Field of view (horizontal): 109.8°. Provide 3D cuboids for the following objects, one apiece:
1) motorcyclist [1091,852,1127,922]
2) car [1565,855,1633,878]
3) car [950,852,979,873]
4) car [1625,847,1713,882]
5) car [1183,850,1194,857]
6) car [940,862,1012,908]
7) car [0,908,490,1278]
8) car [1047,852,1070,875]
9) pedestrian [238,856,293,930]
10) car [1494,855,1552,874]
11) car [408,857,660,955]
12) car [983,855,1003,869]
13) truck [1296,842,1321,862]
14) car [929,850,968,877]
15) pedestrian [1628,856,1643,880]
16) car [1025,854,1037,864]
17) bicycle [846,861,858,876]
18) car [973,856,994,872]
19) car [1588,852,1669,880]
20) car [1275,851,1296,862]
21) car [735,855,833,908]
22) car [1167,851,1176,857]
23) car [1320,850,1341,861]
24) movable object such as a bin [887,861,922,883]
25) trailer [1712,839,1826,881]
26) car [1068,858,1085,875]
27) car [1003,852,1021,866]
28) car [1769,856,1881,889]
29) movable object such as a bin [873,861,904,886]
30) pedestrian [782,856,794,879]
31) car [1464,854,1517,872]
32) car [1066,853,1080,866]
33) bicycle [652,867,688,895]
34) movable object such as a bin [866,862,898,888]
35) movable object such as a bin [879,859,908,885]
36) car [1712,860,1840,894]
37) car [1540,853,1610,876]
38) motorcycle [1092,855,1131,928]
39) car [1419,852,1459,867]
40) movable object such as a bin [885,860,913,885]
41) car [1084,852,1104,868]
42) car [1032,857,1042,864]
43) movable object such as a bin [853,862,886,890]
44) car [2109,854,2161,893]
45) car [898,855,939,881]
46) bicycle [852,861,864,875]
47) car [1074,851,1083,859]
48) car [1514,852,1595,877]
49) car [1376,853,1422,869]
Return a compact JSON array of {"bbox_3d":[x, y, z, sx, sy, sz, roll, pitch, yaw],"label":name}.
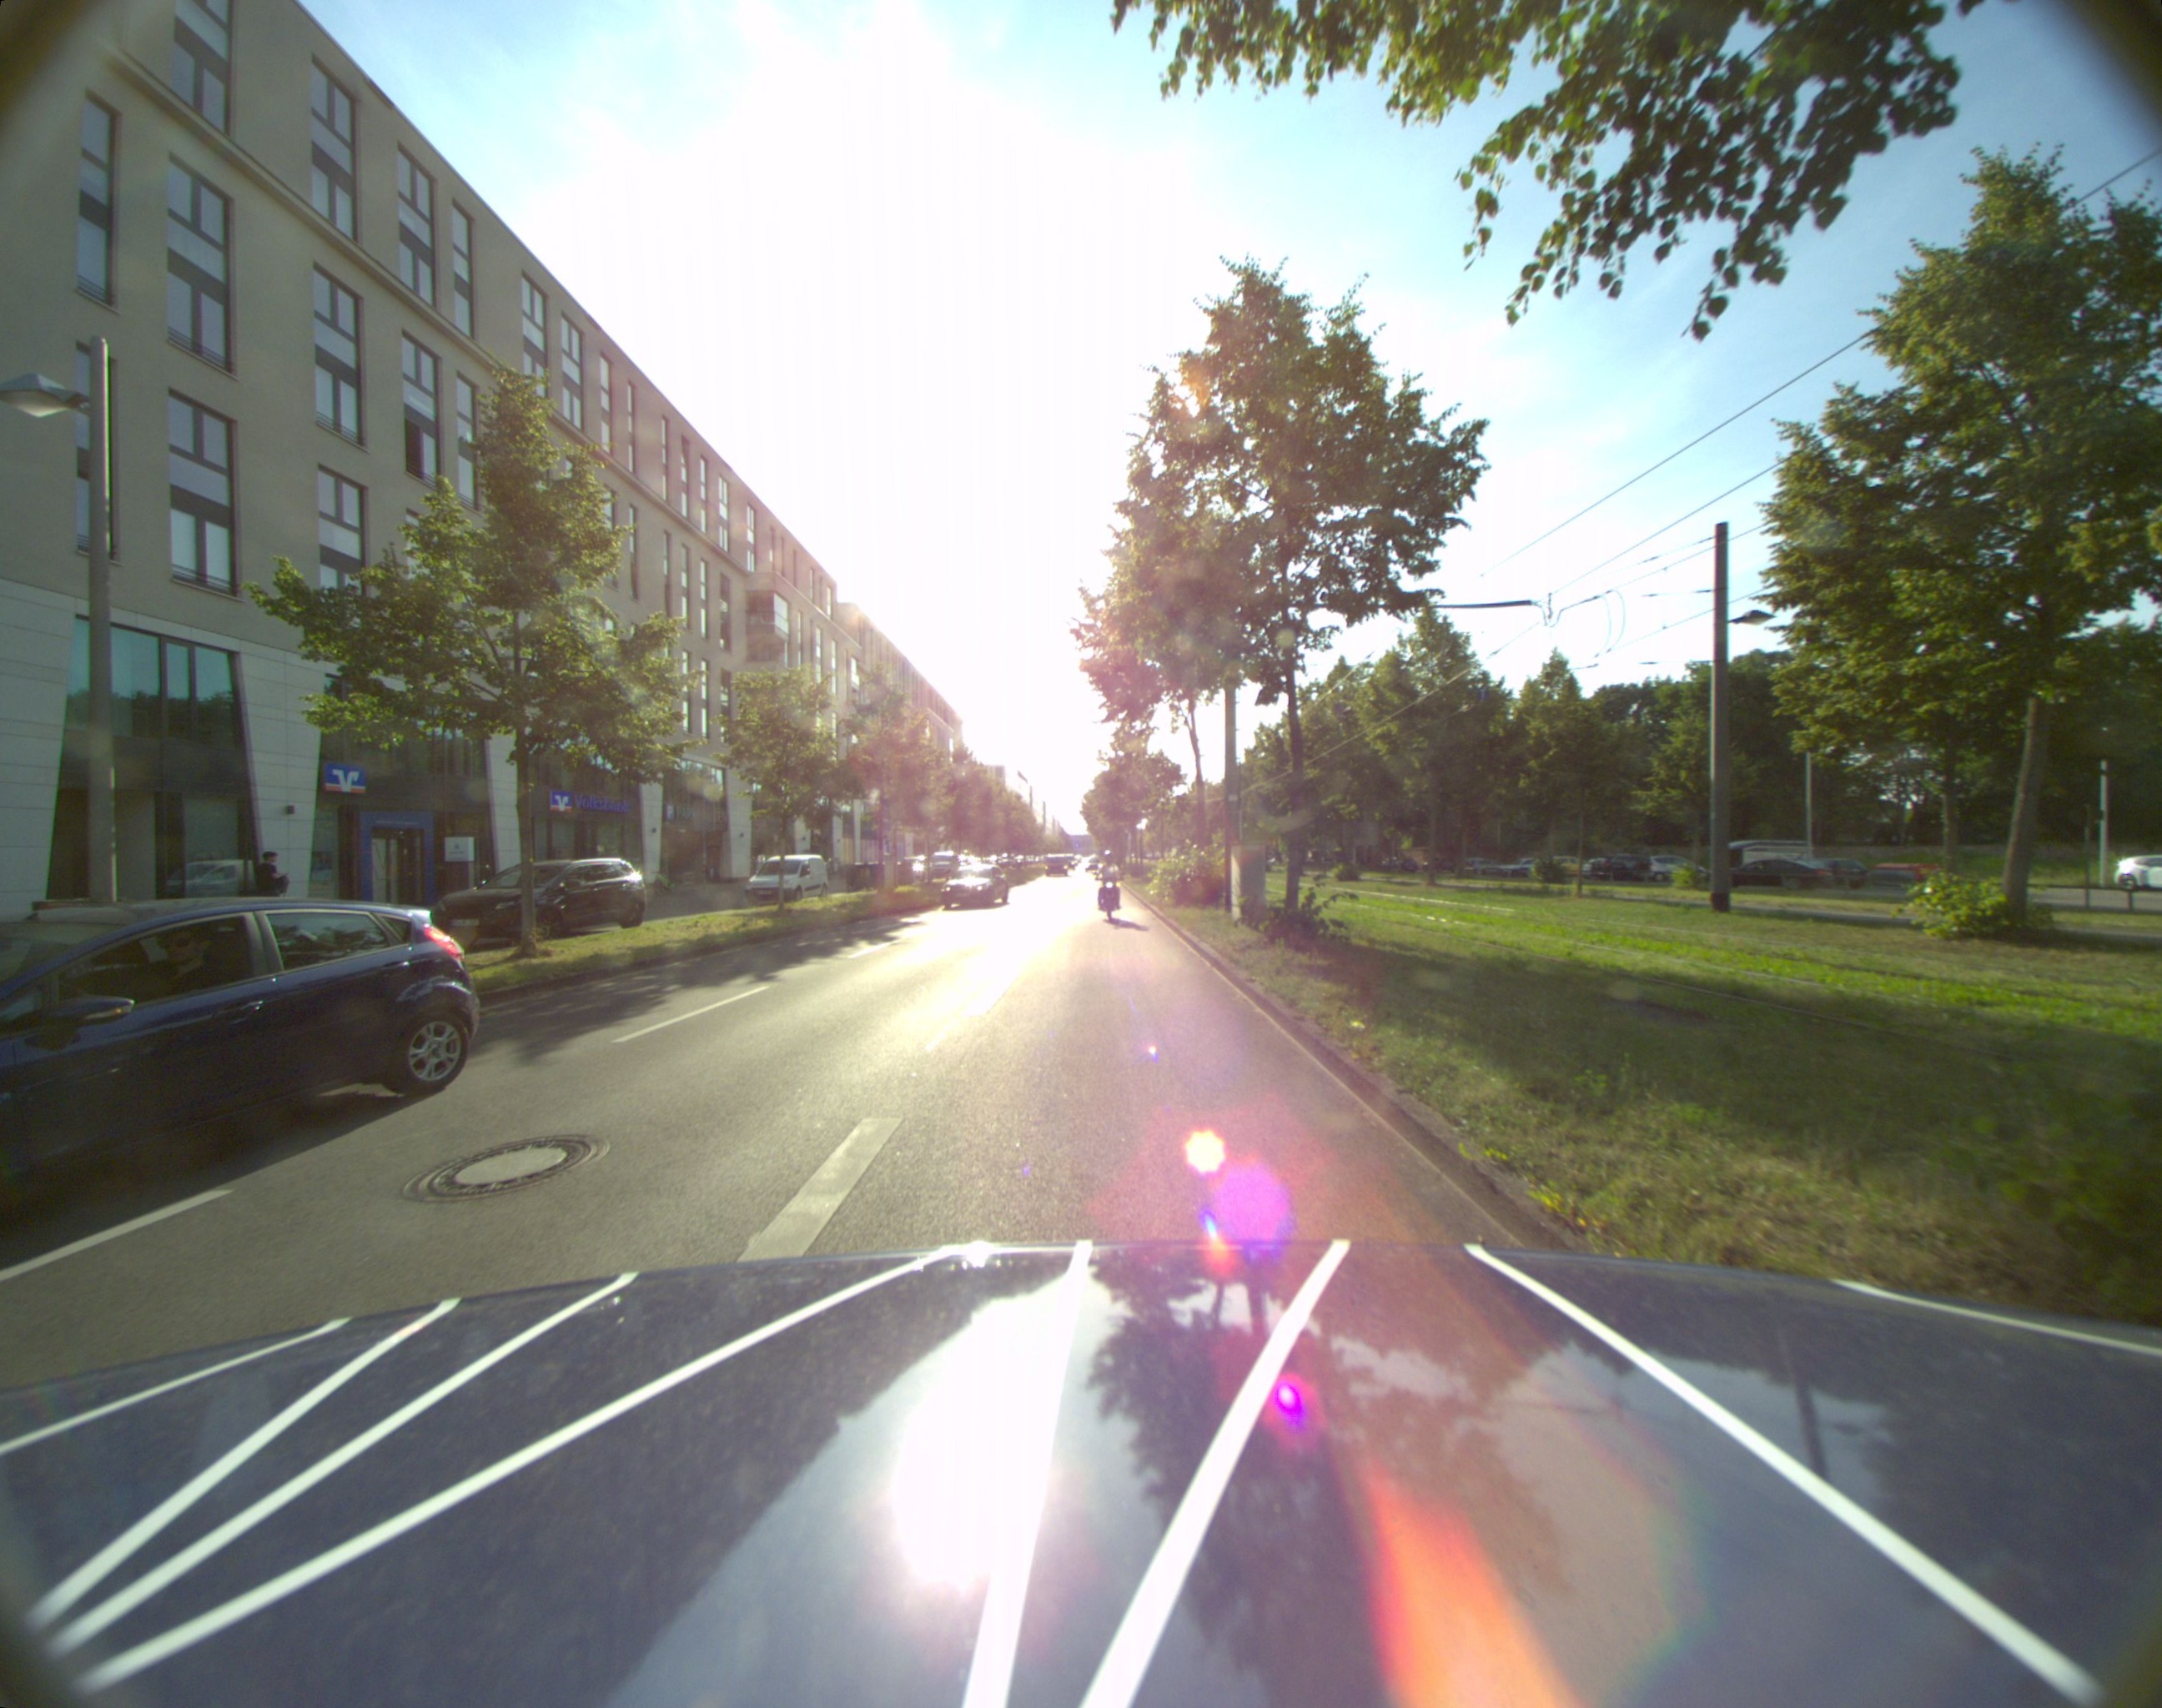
[{"bbox_3d":[0.708,0.824,19.230,0.814,1.700,0.843,-2,1,0],"label":"motorcyclist"},{"bbox_3d":[36.317,0.839,53.339,3.576,1.417,1.726,-2,1,1],"label":"car"},{"bbox_3d":[-10.233,0.725,66.911,1.732,1.641,4.339,-2,1,2],"label":"car"},{"bbox_3d":[36.189,0.645,46.843,4.002,1.936,1.757,-2,1,1],"label":"car"},{"bbox_3d":[23.659,-0.046,167.290,1.686,1.467,4.812,2,1,1],"label":"car"},{"bbox_3d":[-3.774,1.097,28.061,1.698,1.416,4.040,-2,1,6],"label":"car"},{"bbox_3d":[-5.427,1.146,3.915,1.564,1.416,3.908,-2,0,2],"label":"car"},{"bbox_3d":[-1.989,0.829,67.782,1.803,1.880,4.821,-2,1,1],"label":"car"},{"bbox_3d":[-19.964,0.946,18.619,0.538,1.752,0.646,-2,1,1],"label":"pedestrian"},{"bbox_3d":[36.277,0.853,62.411,3.655,1.420,1.810,-2,1,3],"label":"car"},{"bbox_3d":[-11.140,0.952,16.009,1.902,1.698,4.677,-2,0,-1],"label":"car"},{"bbox_3d":[-10.265,0.909,88.797,1.733,1.424,4.113,-2,1,0],"label":"car"},{"bbox_3d":[42.142,-0.385,140.748,2.895,3.496,7.946,-2,1,6],"label":"truck"},{"bbox_3d":[-10.328,0.711,59.544,1.842,1.865,5.032,-2,1,3],"label":"car"},{"bbox_3d":[34.404,0.875,47.142,0.523,1.472,0.568,-2,1,0],"label":"pedestrian"},{"bbox_3d":[-9.178,0.901,139.868,1.840,1.521,4.328,-2,1,1],"label":"car"},{"bbox_3d":[-17.964,1.119,59.546,0.345,1.075,1.742,3,1,1],"label":"bicycle"},{"bbox_3d":[-9.345,0.947,73.142,1.620,1.404,4.166,-2,1,-2],"label":"car"},{"bbox_3d":[35.956,0.744,49.922,4.002,1.633,1.757,-2,1,1],"label":"car"},{"bbox_3d":[29.236,0.283,108.785,1.835,1.423,4.474,-2,1,2],"label":"car"},{"bbox_3d":[-10.877,0.956,28.156,1.831,1.702,4.295,-2,1,0],"label":"car"},{"bbox_3d":[19.931,0.016,167.906,1.587,1.385,3.696,-2,1,1],"label":"car"},{"bbox_3d":[38.842,0.276,118.481,1.835,1.603,4.474,-2,1,2],"label":"car"},{"bbox_3d":[-10.218,1.037,44.037,1.399,1.229,1.338,-2,1,28],"label":"movable object such as a bin"},{"bbox_3d":[37.117,0.301,41.071,4.374,2.042,1.758,-2,1,4],"label":"trailer"},{"bbox_3d":[-0.491,1.500,92.851,1.909,2.002,4.000,-2,1,1],"label":"car"},{"bbox_3d":[-9.604,0.657,105.844,1.899,1.863,4.844,-2,1,0],"label":"car"},{"bbox_3d":[36.078,0.852,36.967,1.684,1.385,3.760,-2,1,-2],"label":"car"},{"bbox_3d":[-10.081,1.026,39.888,1.281,1.229,1.191,-2,1,-2],"label":"movable object such as a bin"},{"bbox_3d":[-19.979,0.934,51.848,0.515,1.513,0.597,-2,1,1],"label":"pedestrian"},{"bbox_3d":[37.425,0.817,69.526,3.865,1.477,1.744,-2,1,9],"label":"car"},{"bbox_3d":[-1.247,0.849,121.022,1.998,2.002,3.999,-2,1,1],"label":"car"},{"bbox_3d":[-17.902,1.150,33.146,0.493,1.110,1.945,0,1,1],"label":"bicycle"},{"bbox_3d":[-10.082,1.035,38.523,1.281,1.229,1.191,-2,1,-2],"label":"movable object such as a bin"},{"bbox_3d":[-10.152,0.954,41.231,1.281,1.310,1.191,-2,1,-2],"label":"movable object such as a bin"},{"bbox_3d":[32.135,1.017,35.232,1.778,1.419,3.991,-3,1,-26],"label":"car"},{"bbox_3d":[37.150,0.752,57.222,3.996,1.551,1.856,-2,1,3],"label":"car"},{"bbox_3d":[0.732,0.877,19.165,0.798,1.659,2.634,-2,1,0],"label":"motorcycle"},{"bbox_3d":[37.233,0.506,79.129,1.791,1.434,4.359,-2,1,-4],"label":"car"},{"bbox_3d":[-10.182,1.009,42.539,1.281,1.294,1.191,-2,1,-2],"label":"movable object such as a bin"},{"bbox_3d":[1.257,0.571,77.136,1.756,1.427,4.034,-2,1,-2],"label":"car"},{"bbox_3d":[-9.652,1.422,167.821,1.840,1.521,4.328,-2,1,1],"label":"car"},{"bbox_3d":[-10.368,1.077,37.316,1.281,1.284,1.178,-2,1,-2],"label":"movable object such as a bin"},{"bbox_3d":[46.772,0.848,32.032,1.851,1.586,4.003,-2,1,12],"label":"car"},{"bbox_3d":[-10.566,0.874,49.677,1.735,1.620,4.849,0,0,-2],"label":"car"},{"bbox_3d":[-17.468,1.098,59.635,0.345,1.075,1.732,3,1,1],"label":"bicycle"},{"bbox_3d":[-0.528,0.163,159.936,1.840,1.521,4.328,-2,1,1],"label":"car"},{"bbox_3d":[37.339,0.836,59.994,5.071,1.725,1.886,-2,1,3],"label":"car"},{"bbox_3d":[30.966,0.670,74.153,1.689,1.427,4.027,-3,1,-26],"label":"car"}]
